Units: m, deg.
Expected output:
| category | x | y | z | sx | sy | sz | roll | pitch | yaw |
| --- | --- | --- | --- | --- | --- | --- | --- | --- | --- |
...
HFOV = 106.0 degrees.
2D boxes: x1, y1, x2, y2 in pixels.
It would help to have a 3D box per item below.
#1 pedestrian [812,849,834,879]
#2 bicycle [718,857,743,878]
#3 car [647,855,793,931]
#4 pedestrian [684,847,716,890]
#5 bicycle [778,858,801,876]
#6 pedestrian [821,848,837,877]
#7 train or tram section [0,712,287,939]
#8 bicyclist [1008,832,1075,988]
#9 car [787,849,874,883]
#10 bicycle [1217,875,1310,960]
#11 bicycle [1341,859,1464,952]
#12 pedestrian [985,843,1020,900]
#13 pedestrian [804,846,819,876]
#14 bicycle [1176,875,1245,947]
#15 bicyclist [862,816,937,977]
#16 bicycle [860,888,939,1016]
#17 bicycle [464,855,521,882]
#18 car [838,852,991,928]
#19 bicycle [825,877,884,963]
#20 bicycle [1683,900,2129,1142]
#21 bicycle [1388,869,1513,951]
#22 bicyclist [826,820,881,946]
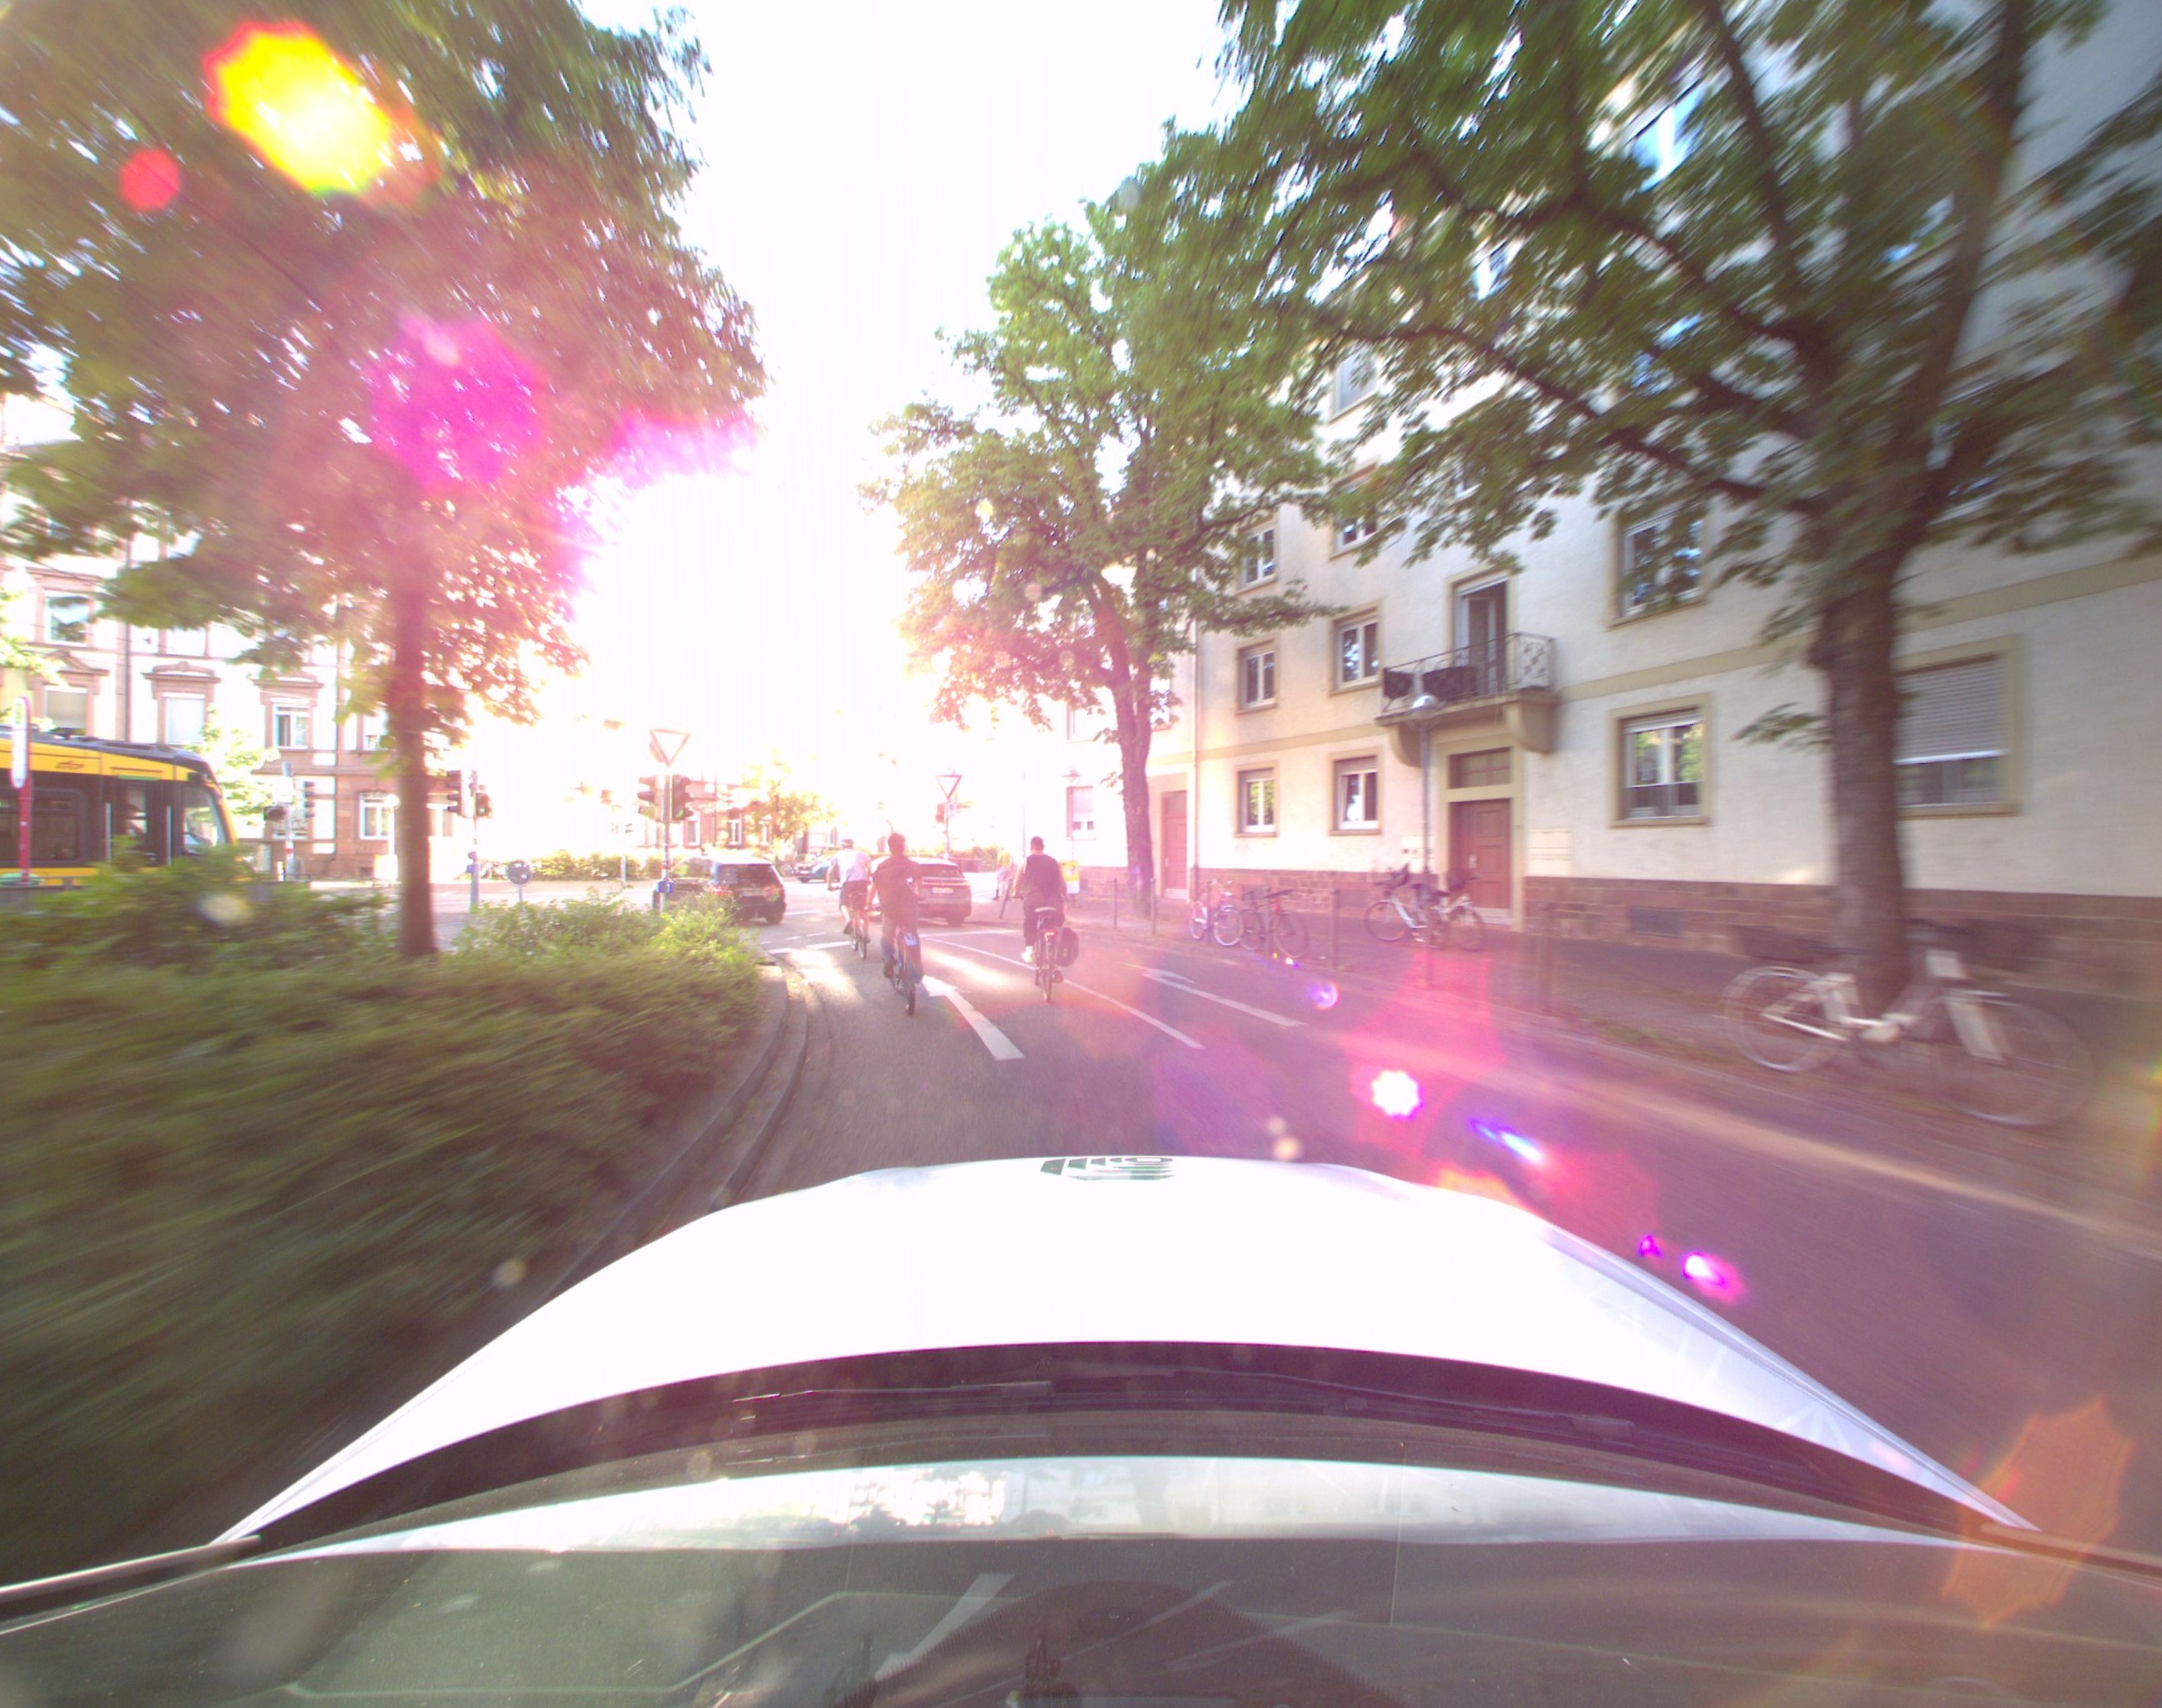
| category | x | y | z | sx | sy | sz | roll | pitch | yaw |
| --- | --- | --- | --- | --- | --- | --- | --- | --- | --- |
| pedestrian | -14.788 | 0.566 | 46.699 | 0.703 | 1.664 | 0.904 | 4 | 2 | 39 |
| bicycle | -18.722 | 0.729 | 43.497 | 0.437 | 1.107 | 1.241 | 1 | 0 | 28 |
| car | -8.415 | 0.834 | 18.829 | 3.812 | 1.542 | 1.806 | -1 | 1 | 45 |
| pedestrian | -14.917 | 0.560 | 31.889 | 0.901 | 1.635 | 0.723 | 2 | 0 | -9 |
| bicycle | -16.845 | 0.735 | 47.092 | 0.437 | 1.038 | 1.241 | 1 | 0 | 27 |
| pedestrian | -14.904 | 0.478 | 48.118 | 0.655 | 1.715 | 0.640 | 0 | 0 | 35 |
| train or tram section | -19.429 | -0.477 | 11.287 | 2.767 | 3.620 | 11.864 | 0 | 0 | 22 |
| bicyclist | -0.463 | 0.598 | 9.229 | 0.685 | 1.656 | 0.987 | -1 | 0 | -6 |
| car | -12.972 | 0.585 | 42.477 | 1.925 | 1.650 | 4.434 | 0 | 0 | 23 |
| bicycle | 2.702 | 0.905 | 12.230 | 0.527 | 1.107 | 1.730 | -2 | 1 | -18 |
| bicycle | 4.850 | 0.726 | 12.437 | 0.718 | 1.277 | 1.957 | -1 | 0 | -15 |
| pedestrian | -2.451 | 0.543 | 25.451 | 0.648 | 1.727 | 0.878 | -3 | 1 | -41 |
| pedestrian | -15.795 | 0.416 | 47.698 | 0.514 | 1.715 | 0.640 | 0 | -1 | 35 |
| bicycle | 2.157 | 0.924 | 13.787 | 0.481 | 1.063 | 1.627 | -2 | 1 | -16 |
| bicyclist | -1.867 | 0.420 | 8.491 | 0.707 | 1.573 | 0.953 | 1 | 0 | -11 |
| bicycle | -1.887 | 0.953 | 8.599 | 0.717 | 1.107 | 1.959 | 1 | 0 | -11 |
| bicycle | -25.890 | 0.651 | 35.853 | 1.974 | 1.107 | 0.438 | 2 | -1 | -34 |
| car | -4.088 | 0.777 | 19.395 | 1.984 | 1.585 | 4.427 | 2 | -1 | -34 |
| bicycle | -3.614 | 0.983 | 12.903 | 0.812 | 1.185 | 2.214 | 0 | 0 | -17 |
| bicycle | 4.934 | 0.895 | 5.109 | 0.513 | 1.095 | 1.964 | -1 | 0 | -14 |
| bicycle | 5.559 | 0.804 | 12.393 | 0.668 | 1.107 | 1.957 | 1 | 0 | -13 |
| bicyclist | -3.610 | 0.441 | 12.909 | 0.796 | 1.913 | 0.939 | 1 | 0 | -17 |
